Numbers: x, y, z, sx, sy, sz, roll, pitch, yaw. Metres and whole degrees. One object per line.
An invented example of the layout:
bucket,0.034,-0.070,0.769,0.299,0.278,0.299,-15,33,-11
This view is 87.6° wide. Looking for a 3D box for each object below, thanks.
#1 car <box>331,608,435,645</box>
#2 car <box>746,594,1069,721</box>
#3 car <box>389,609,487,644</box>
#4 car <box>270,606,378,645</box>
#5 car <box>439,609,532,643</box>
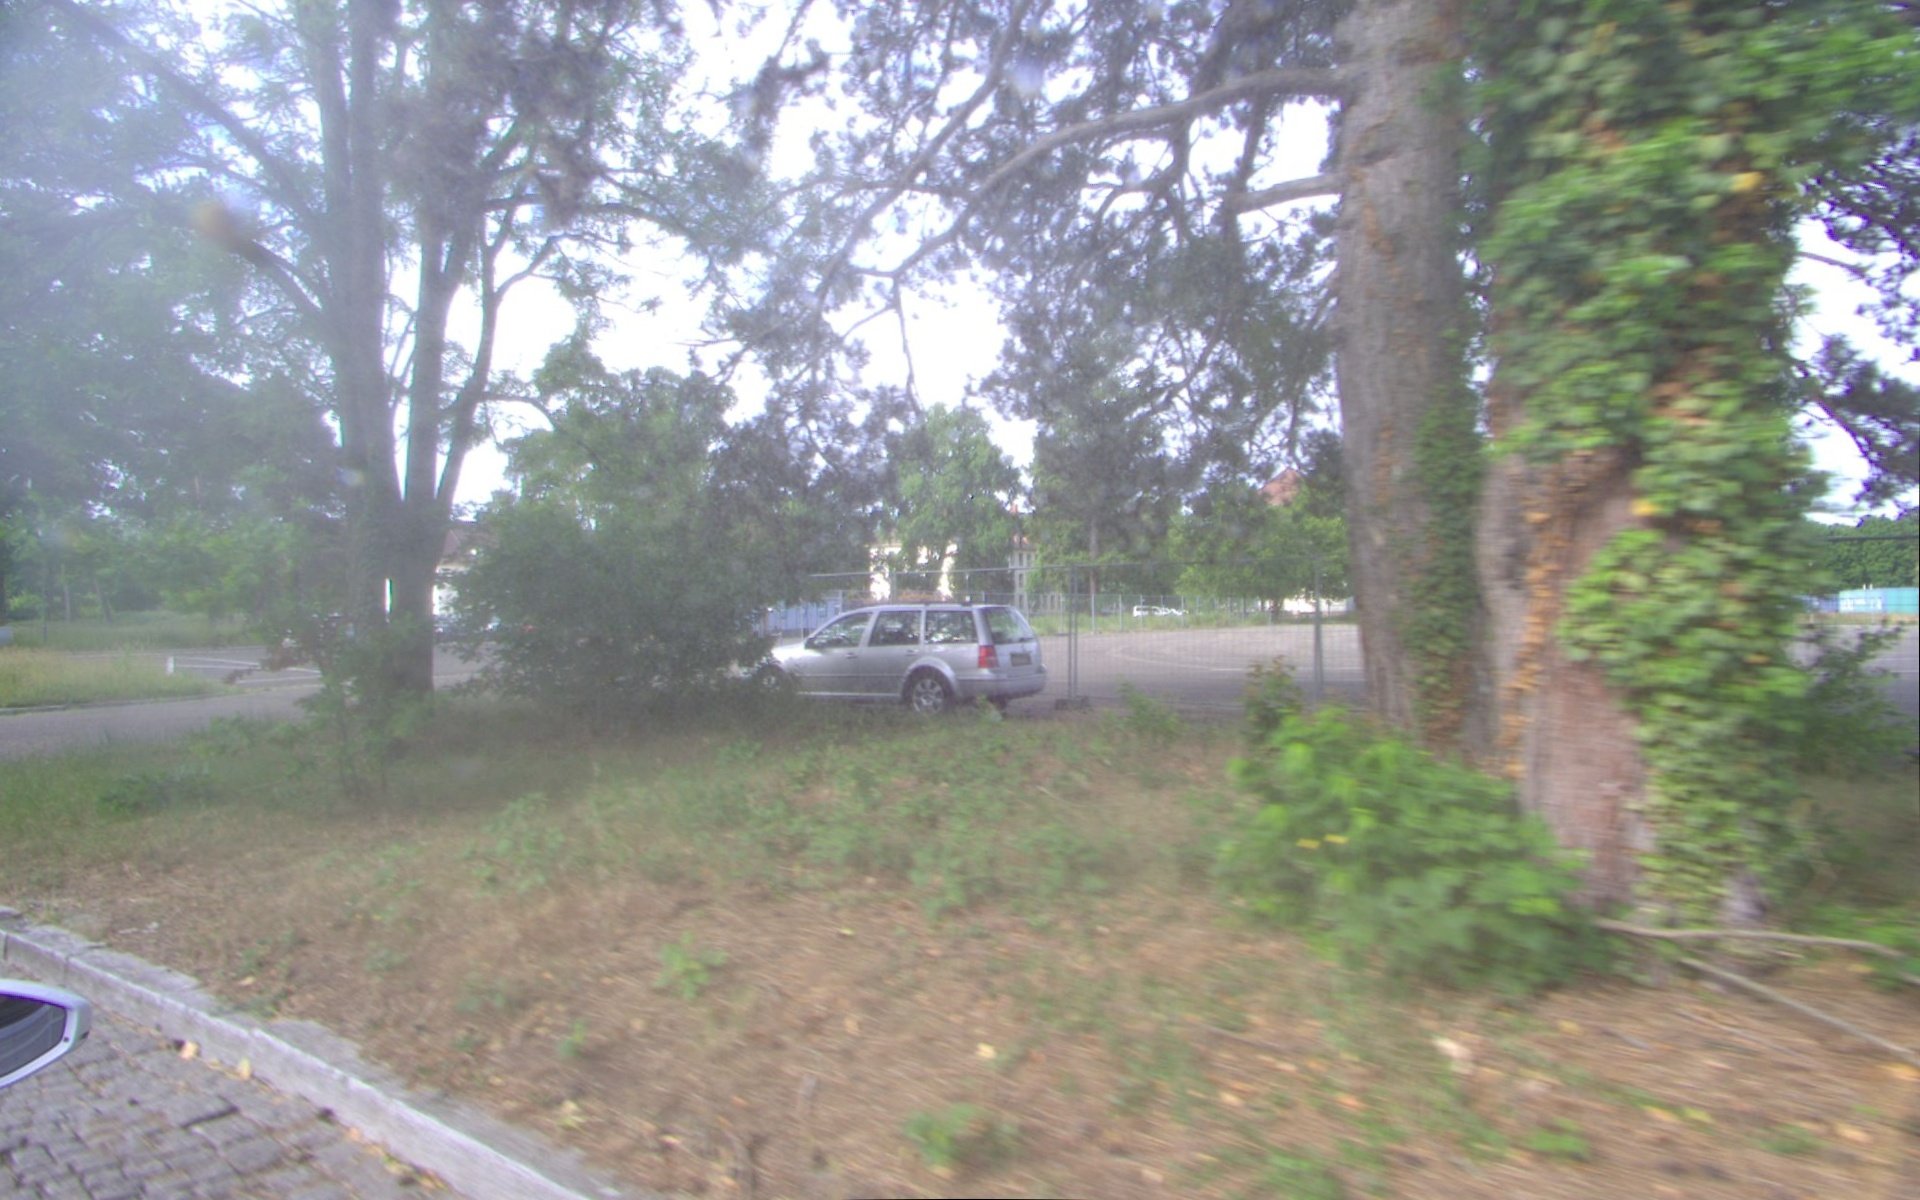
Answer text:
car,-25.446,1.160,44.136,4.359,1.500,1.991,-2,-1,29
car,-0.747,0.719,13.188,4.014,1.444,1.645,-1,-3,31
car,-24.275,1.244,46.550,4.359,1.500,1.991,-2,-1,29
car,-26.632,1.082,41.910,4.359,1.500,1.991,-2,-1,29
car,-23.255,1.311,49.063,4.359,1.542,1.992,-2,-2,29
